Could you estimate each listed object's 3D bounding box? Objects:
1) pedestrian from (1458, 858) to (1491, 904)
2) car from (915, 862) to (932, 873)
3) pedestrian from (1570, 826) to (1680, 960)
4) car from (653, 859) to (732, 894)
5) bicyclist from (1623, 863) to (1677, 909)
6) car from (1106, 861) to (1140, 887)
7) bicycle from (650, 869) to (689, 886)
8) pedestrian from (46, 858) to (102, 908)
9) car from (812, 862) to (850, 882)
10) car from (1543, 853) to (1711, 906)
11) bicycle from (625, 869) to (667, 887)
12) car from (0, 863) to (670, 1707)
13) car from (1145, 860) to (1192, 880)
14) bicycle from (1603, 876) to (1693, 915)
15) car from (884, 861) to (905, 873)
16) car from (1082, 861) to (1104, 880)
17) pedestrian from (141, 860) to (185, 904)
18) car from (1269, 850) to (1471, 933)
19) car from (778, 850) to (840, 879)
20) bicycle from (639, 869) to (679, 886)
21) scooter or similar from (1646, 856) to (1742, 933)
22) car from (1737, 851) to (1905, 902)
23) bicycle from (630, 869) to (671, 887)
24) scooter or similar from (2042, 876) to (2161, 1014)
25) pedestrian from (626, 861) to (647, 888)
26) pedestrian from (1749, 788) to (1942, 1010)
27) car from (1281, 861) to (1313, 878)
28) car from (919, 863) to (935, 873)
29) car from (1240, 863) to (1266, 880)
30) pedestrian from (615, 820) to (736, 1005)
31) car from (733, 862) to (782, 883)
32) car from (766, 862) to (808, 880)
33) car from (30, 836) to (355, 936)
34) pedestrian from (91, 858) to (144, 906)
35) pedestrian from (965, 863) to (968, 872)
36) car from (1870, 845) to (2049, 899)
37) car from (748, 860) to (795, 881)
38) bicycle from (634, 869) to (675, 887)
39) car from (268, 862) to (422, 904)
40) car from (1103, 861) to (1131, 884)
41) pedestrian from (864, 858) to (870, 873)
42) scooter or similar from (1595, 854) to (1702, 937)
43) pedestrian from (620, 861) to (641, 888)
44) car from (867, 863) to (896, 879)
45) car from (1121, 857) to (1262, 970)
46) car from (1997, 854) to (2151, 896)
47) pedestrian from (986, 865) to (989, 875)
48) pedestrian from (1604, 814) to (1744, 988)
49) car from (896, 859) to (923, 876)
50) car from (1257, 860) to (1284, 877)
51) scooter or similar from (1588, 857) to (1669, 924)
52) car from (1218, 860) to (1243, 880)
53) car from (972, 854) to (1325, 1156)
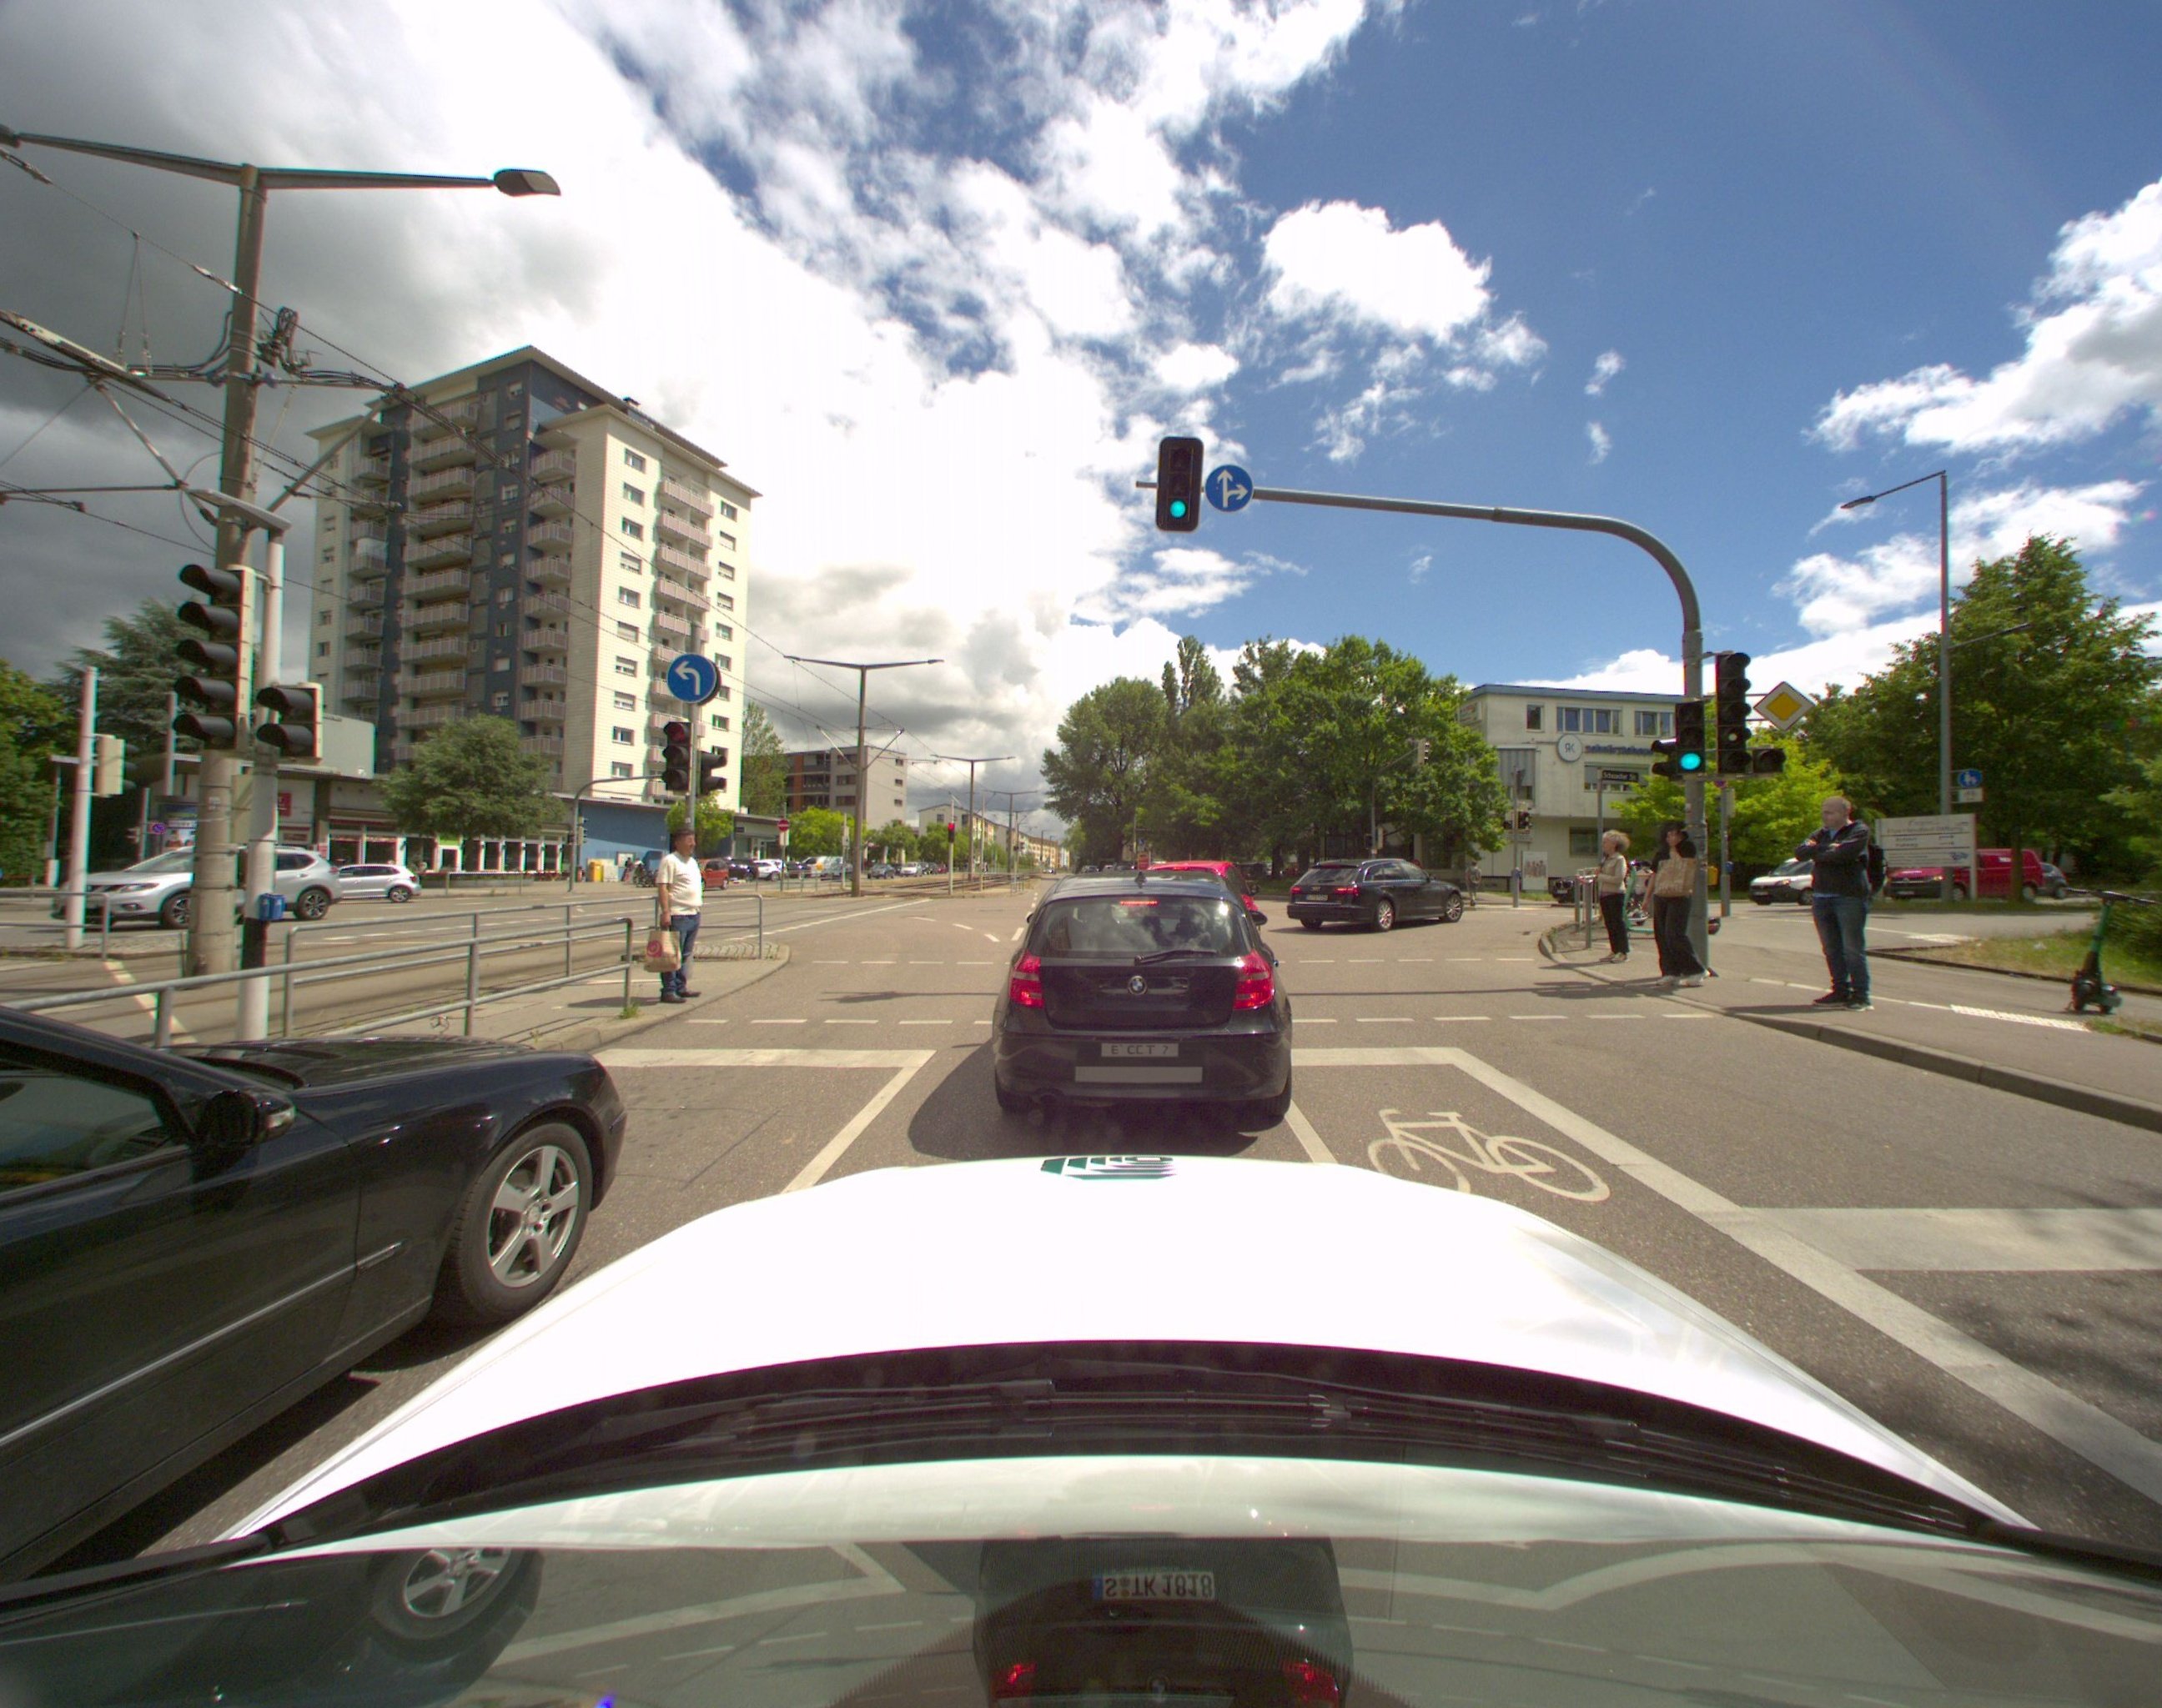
[{"bbox_3d":[14.302,0.974,29.620,0.765,1.643,0.908,0,0,1],"label":"pedestrian"},{"bbox_3d":[-20.970,1.793,108.280,1.758,1.395,3.993,0,0,-5],"label":"car"},{"bbox_3d":[7.122,0.494,10.717,0.945,1.674,0.874,-1,-1,17],"label":"pedestrian"},{"bbox_3d":[-19.699,1.093,41.485,1.989,1.635,4.456,-2,0,-3],"label":"car"},{"bbox_3d":[12.950,0.727,18.561,0.789,1.022,0.635,0,-1,-2],"label":"bicyclist"},{"bbox_3d":[2.771,1.341,54.292,2.144,1.684,4.001,0,-1,2],"label":"car"},{"bbox_3d":[-23.405,1.322,46.351,1.943,0.935,0.494,0,-1,-5],"label":"bicycle"},{"bbox_3d":[-33.927,0.963,27.448,0.957,1.659,1.002,-1,-1,28],"label":"pedestrian"},{"bbox_3d":[-19.396,1.347,63.286,1.624,1.414,4.253,-1,1,0],"label":"car"},{"bbox_3d":[18.598,0.837,27.869,4.551,1.717,1.996,0,0,-5],"label":"car"},{"bbox_3d":[-23.337,1.299,43.743,1.943,0.935,0.494,0,-1,-5],"label":"bicycle"},{"bbox_3d":[-2.739,0.765,1.294,1.721,1.461,4.546,0,0,2],"label":"car"},{"bbox_3d":[8.129,1.488,75.682,4.001,1.823,1.766,0,0,-21],"label":"car"},{"bbox_3d":[12.950,0.932,18.680,0.789,0.819,1.806,0,0,-2],"label":"bicycle"},{"bbox_3d":[-21.540,1.471,94.254,1.758,1.395,3.993,0,0,-5],"label":"car"},{"bbox_3d":[1.181,1.545,77.130,1.986,1.684,4.002,0,0,2],"label":"car"},{"bbox_3d":[-35.103,1.087,31.143,0.756,1.616,0.784,1,-5,26],"label":"pedestrian"},{"bbox_3d":[6.270,0.720,17.435,4.543,1.554,1.977,0,-1,-39],"label":"car"},{"bbox_3d":[-24.332,0.904,72.721,2.848,2.478,6.642,0,0,-41],"label":"car"},{"bbox_3d":[-23.426,1.312,45.210,1.943,0.935,0.494,0,-1,-5],"label":"bicycle"},{"bbox_3d":[10.363,0.678,13.782,1.225,1.240,0.555,2,0,-7],"label":"scooter or similar"},{"bbox_3d":[26.316,0.779,29.048,4.555,1.717,1.995,0,0,-8],"label":"car"},{"bbox_3d":[-23.381,1.303,44.227,1.943,0.935,0.494,0,-1,-5],"label":"bicycle"},{"bbox_3d":[10.622,0.927,8.470,1.247,1.275,0.709,6,-1,-38],"label":"scooter or similar"},{"bbox_3d":[-27.755,1.251,50.865,0.952,1.659,1.086,0,-1,-40],"label":"pedestrian"},{"bbox_3d":[7.065,0.391,7.577,0.963,1.942,0.896,0,0,-3],"label":"pedestrian"},{"bbox_3d":[20.944,1.500,79.020,1.728,1.595,3.992,0,0,-5],"label":"car"},{"bbox_3d":[-21.299,1.965,113.018,1.758,1.395,3.993,0,0,-5],"label":"car"},{"bbox_3d":[16.294,1.619,77.352,1.626,1.573,4.030,0,0,-1],"label":"car"},{"bbox_3d":[-4.108,0.569,8.315,0.866,1.808,0.741,0,0,-2],"label":"pedestrian"},{"bbox_3d":[-24.325,1.357,61.147,4.165,1.570,1.973,0,0,45],"label":"car"},{"bbox_3d":[-24.321,1.345,67.358,1.800,1.420,4.166,0,0,-43],"label":"car"},{"bbox_3d":[-18.553,0.598,17.421,1.988,1.801,4.508,-2,0,-1],"label":"car"},{"bbox_3d":[-33.610,0.969,28.414,0.957,1.659,1.002,-1,-1,28],"label":"pedestrian"},{"bbox_3d":[-20.275,2.417,144.546,0.452,1.637,0.480,0,0,-3],"label":"pedestrian"},{"bbox_3d":[31.849,0.666,29.597,4.800,1.864,1.995,0,-2,-8],"label":"car"},{"bbox_3d":[-24.535,1.273,64.455,4.165,1.538,1.973,0,0,45],"label":"car"},{"bbox_3d":[-23.404,1.308,44.733,1.943,0.935,0.494,0,-1,-5],"label":"bicycle"},{"bbox_3d":[-26.460,1.018,29.375,1.677,1.398,4.023,-1,-2,45],"label":"car"},{"bbox_3d":[2.721,1.433,61.746,1.986,1.684,4.001,0,-1,2],"label":"car"},{"bbox_3d":[-24.548,1.325,93.486,0.547,1.716,0.404,0,-1,-8],"label":"pedestrian"},{"bbox_3d":[8.975,0.640,12.911,1.336,1.277,0.463,0,1,8],"label":"scooter or similar"},{"bbox_3d":[-28.659,1.285,51.785,0.952,1.659,1.086,0,-1,-40],"label":"pedestrian"},{"bbox_3d":[-18.337,1.522,74.982,1.629,1.399,4.492,0,-1,0],"label":"car"},{"bbox_3d":[1.770,0.769,12.247,1.529,1.441,3.211,0,0,18],"label":"car"},{"bbox_3d":[42.211,0.876,34.673,4.552,1.717,1.996,0,0,-6],"label":"car"},{"bbox_3d":[-14.795,2.573,129.081,0.477,1.637,0.454,0,0,1],"label":"pedestrian"},{"bbox_3d":[6.381,0.479,8.797,0.933,1.765,0.770,-1,0,-10],"label":"pedestrian"},{"bbox_3d":[-18.507,1.449,88.109,1.930,1.693,3.874,0,0,2],"label":"car"},{"bbox_3d":[18.230,1.368,78.644,1.626,1.595,3.998,0,0,-1],"label":"car"},{"bbox_3d":[9.883,0.659,14.696,1.360,1.156,0.540,1,0,-23],"label":"scooter or similar"},{"bbox_3d":[14.075,1.486,76.776,1.626,1.811,4.030,0,0,-1],"label":"car"},{"bbox_3d":[0.401,0.743,6.030,1.746,1.487,4.002,0,0,2],"label":"car"}]
